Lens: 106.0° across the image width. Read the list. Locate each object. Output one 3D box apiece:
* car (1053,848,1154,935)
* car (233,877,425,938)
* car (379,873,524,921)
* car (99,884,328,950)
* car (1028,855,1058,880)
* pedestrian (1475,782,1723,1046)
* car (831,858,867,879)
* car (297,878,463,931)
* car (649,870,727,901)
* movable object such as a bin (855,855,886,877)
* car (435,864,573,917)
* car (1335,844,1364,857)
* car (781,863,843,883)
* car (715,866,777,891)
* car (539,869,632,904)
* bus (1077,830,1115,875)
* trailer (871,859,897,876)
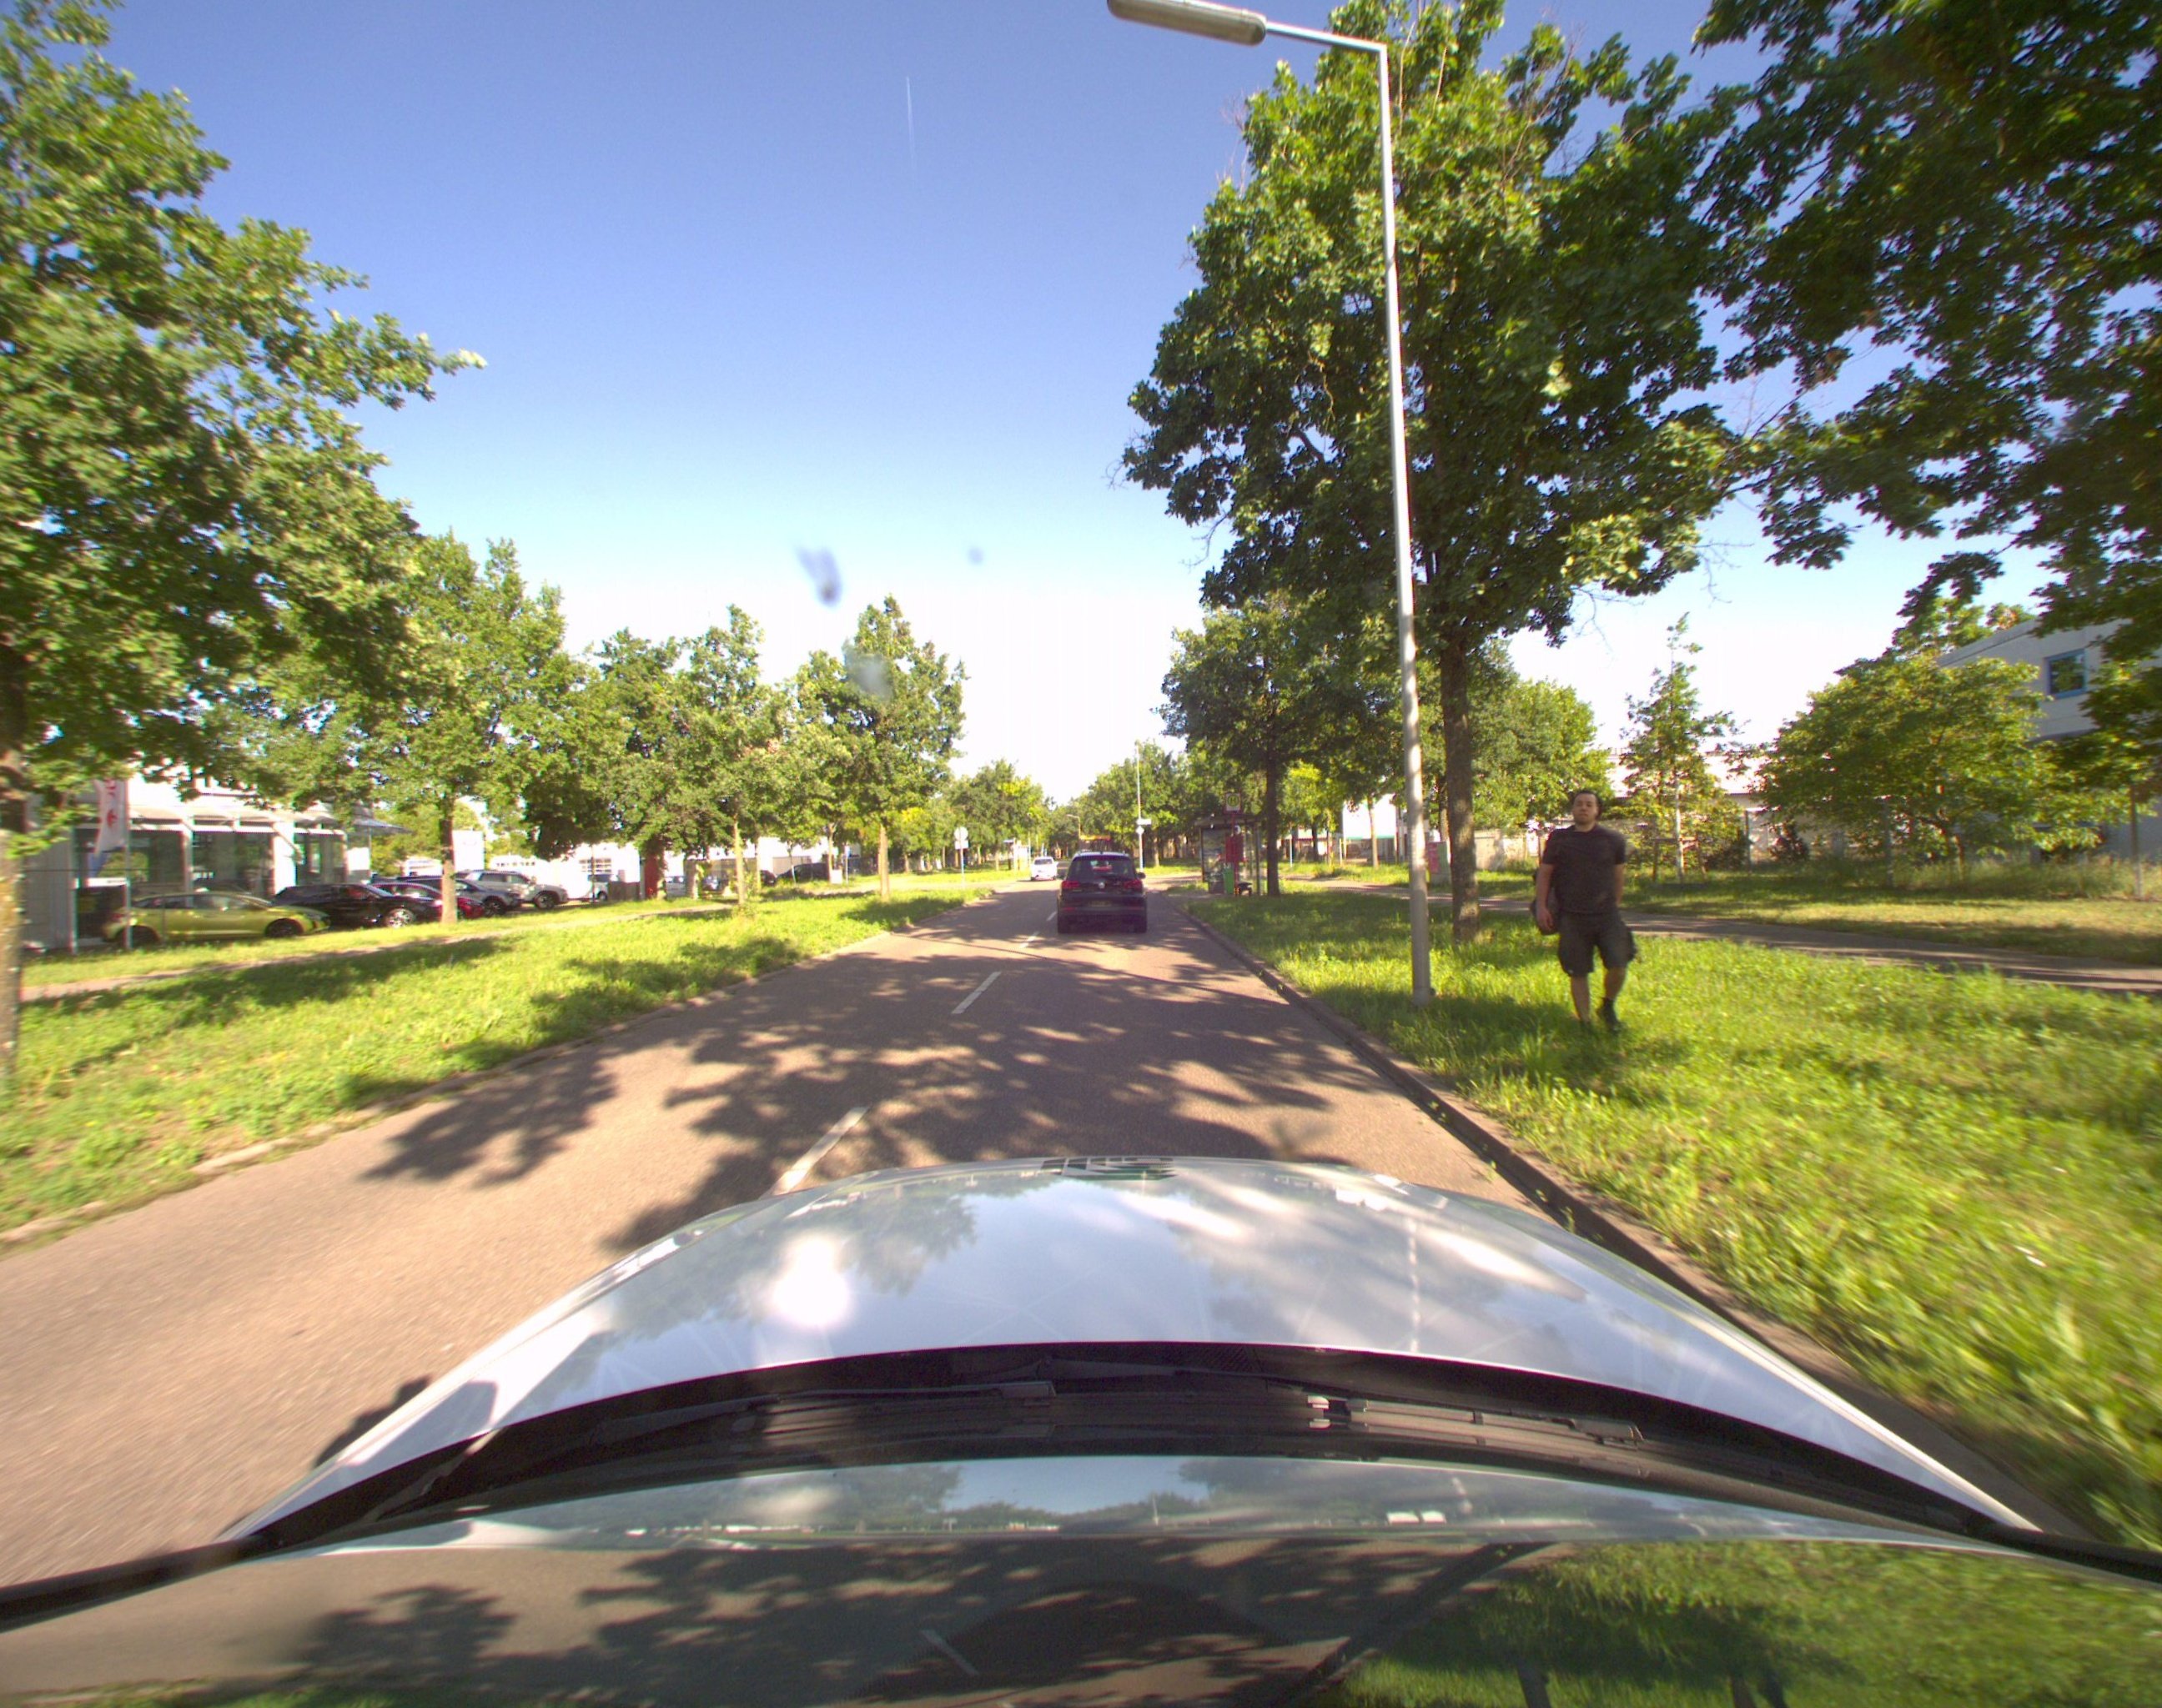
[{"bbox_3d":[0.519,0.716,18.000,1.928,1.656,4.429,-1,0,2],"label":"car"},{"bbox_3d":[-23.041,1.581,25.207,4.191,1.538,1.874,-2,0,-40],"label":"car"},{"bbox_3d":[-24.353,1.625,31.709,4.183,1.562,1.981,-2,0,-30],"label":"car"},{"bbox_3d":[-23.136,1.620,21.996,3.974,1.401,1.977,-2,0,-40],"label":"car"},{"bbox_3d":[-2.467,0.841,52.095,1.740,1.465,4.421,-3,0,-3],"label":"car"},{"bbox_3d":[3.584,0.385,5.768,1.015,1.651,1.100,-2,0,2],"label":"pedestrian"},{"bbox_3d":[-23.806,1.407,83.672,2.030,1.988,5.803,-2,0,-1],"label":"car"},{"bbox_3d":[-24.070,1.684,28.210,4.189,1.491,1.977,-2,0,-37],"label":"car"},{"bbox_3d":[-23.059,1.846,47.824,3.714,1.618,1.972,-2,0,15],"label":"car"},{"bbox_3d":[-23.199,1.275,89.837,2.095,2.217,4.460,-2,0,0],"label":"movable object such as a bin"},{"bbox_3d":[-25.895,1.579,36.660,4.884,2.013,1.976,-2,0,-40],"label":"car"},{"bbox_3d":[30.175,-0.431,91.563,1.761,1.383,3.763,-2,0,-3],"label":"car"},{"bbox_3d":[-22.654,1.609,68.742,4.478,1.479,1.945,-2,0,6],"label":"car"},{"bbox_3d":[-23.612,1.717,57.466,3.641,1.532,1.830,-2,0,15],"label":"car"},{"bbox_3d":[-29.978,1.947,49.315,4.970,1.906,1.950,-2,0,18],"label":"car"},{"bbox_3d":[1.155,-0.122,69.853,2.756,3.456,11.205,-2,0,-1],"label":"bus"},{"bbox_3d":[-23.384,1.560,96.968,2.095,1.914,3.740,-2,0,0],"label":"trailer"}]
